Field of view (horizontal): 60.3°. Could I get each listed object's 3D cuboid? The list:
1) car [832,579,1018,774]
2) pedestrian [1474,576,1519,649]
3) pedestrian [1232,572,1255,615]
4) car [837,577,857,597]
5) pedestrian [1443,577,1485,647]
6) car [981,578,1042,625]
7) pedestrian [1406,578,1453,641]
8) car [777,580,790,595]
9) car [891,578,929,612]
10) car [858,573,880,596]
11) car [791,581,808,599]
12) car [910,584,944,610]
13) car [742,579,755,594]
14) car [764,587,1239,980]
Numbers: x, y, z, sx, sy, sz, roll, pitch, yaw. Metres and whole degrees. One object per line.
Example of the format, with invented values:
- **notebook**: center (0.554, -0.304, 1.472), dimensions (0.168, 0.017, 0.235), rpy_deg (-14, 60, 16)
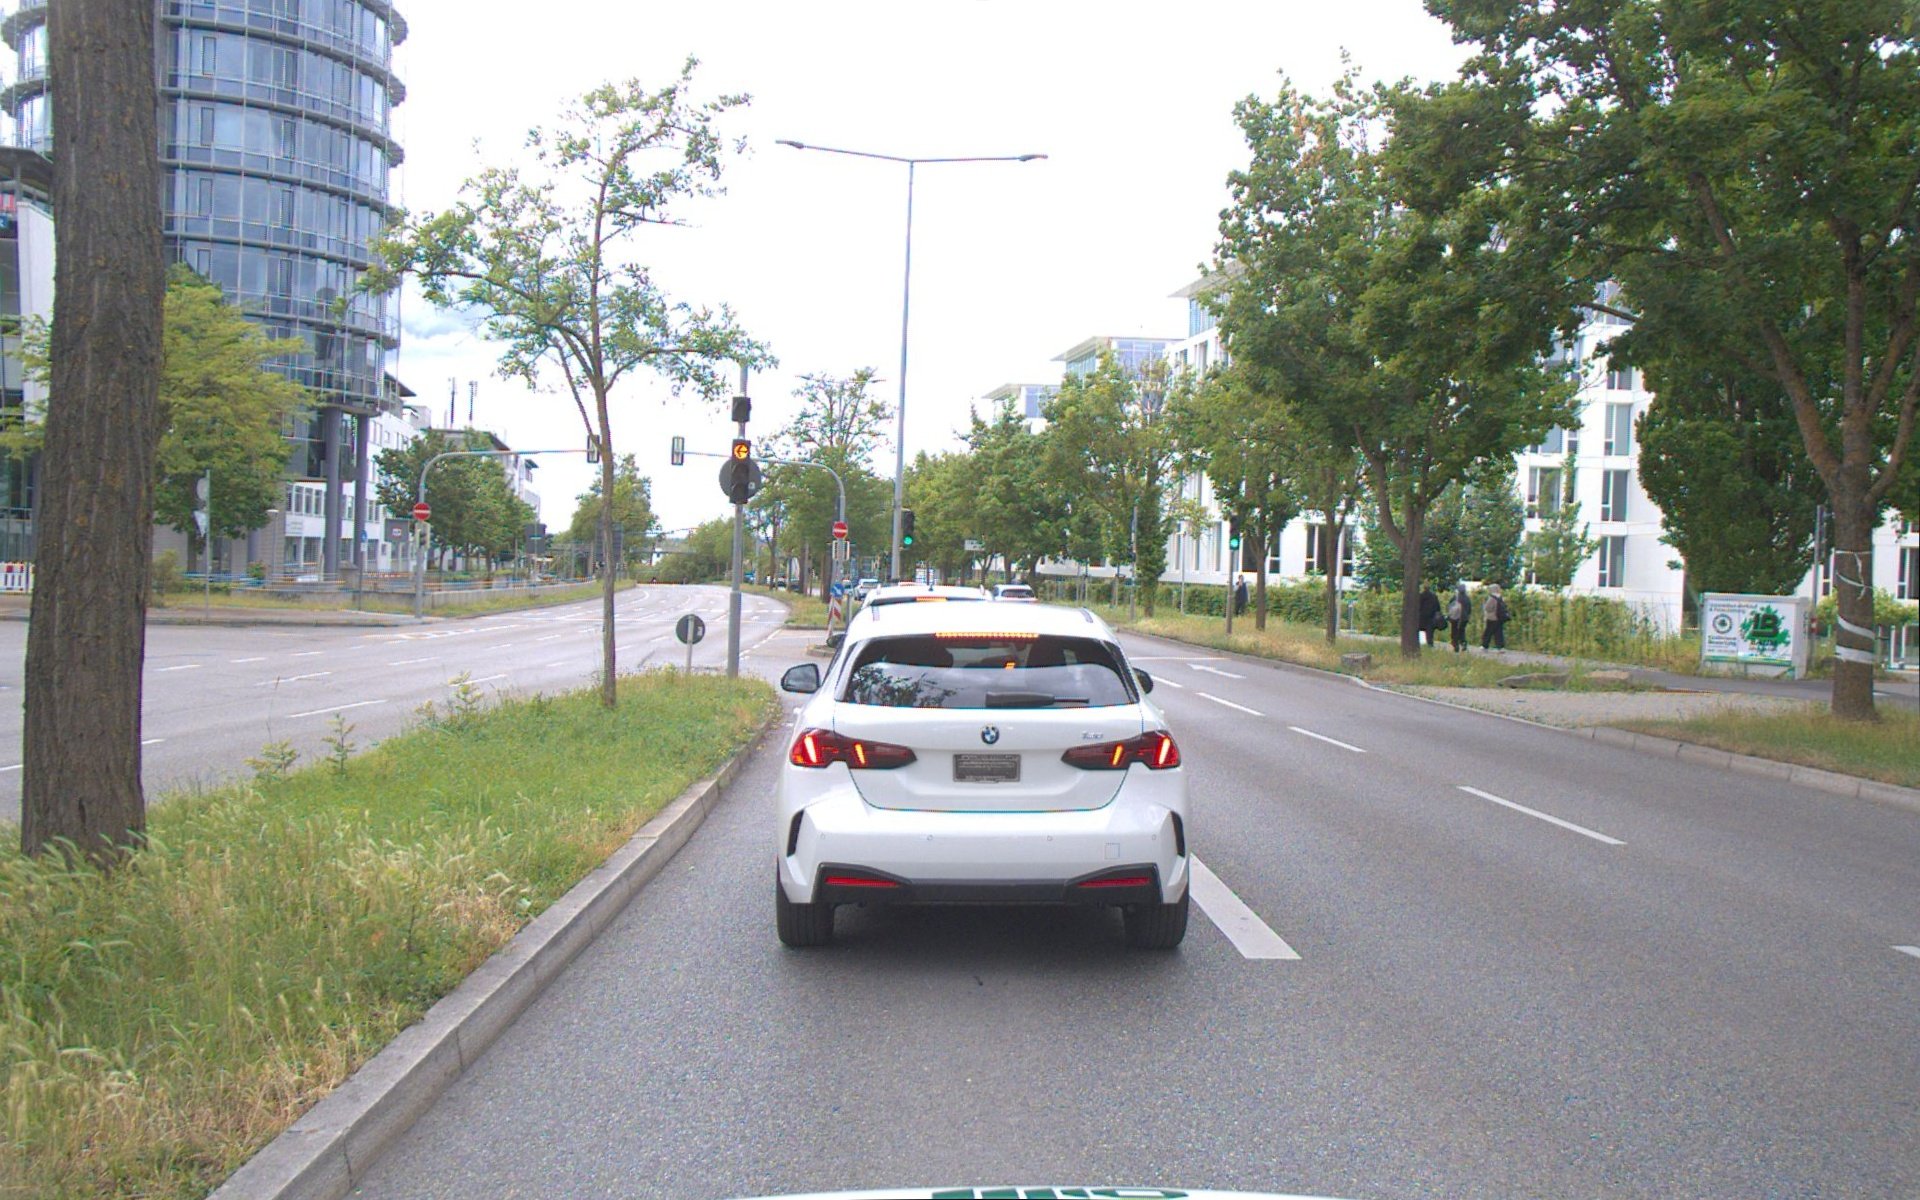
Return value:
- **car**: center (-0.320, 0.629, 15.843), dimensions (1.518, 1.596, 3.999), rpy_deg (1, 0, -1)
- **pedestrian**: center (12.730, 0.299, 39.286), dimensions (0.751, 1.715, 0.883), rpy_deg (1, -1, -2)
- **pedestrian**: center (10.611, -0.249, 61.878), dimensions (0.726, 1.601, 0.674), rpy_deg (1, -1, -2)
- **car**: center (-10.065, -1.143, 146.927), dimensions (1.705, 1.695, 3.997), rpy_deg (1, 0, -4)
- **pedestrian**: center (11.904, 0.284, 39.100), dimensions (0.685, 1.623, 0.883), rpy_deg (1, 0, -2)
- **car**: center (1.897, 0.036, 62.088), dimensions (1.954, 1.699, 3.998), rpy_deg (0, 0, -3)
- **pedestrian**: center (11.126, 0.223, 39.213), dimensions (0.773, 1.473, 1.111), rpy_deg (1, 0, -2)
- **car**: center (-25.099, -1.817, 235.171), dimensions (1.803, 2.049, 3.994), rpy_deg (1, 0, -7)
- **car**: center (-2.748, -0.261, 89.685), dimensions (1.663, 1.747, 3.994), rpy_deg (1, 0, -7)
- **car**: center (-6.976, -1.153, 126.531), dimensions (1.570, 1.695, 3.997), rpy_deg (1, 0, -4)
- **car**: center (-15.680, -0.980, 161.523), dimensions (1.570, 1.695, 3.997), rpy_deg (1, 0, -4)
- **car**: center (-2.043, -0.214, 101.034), dimensions (1.660, 1.512, 3.688), rpy_deg (1, 0, -7)
- **car**: center (-30.881, -1.986, 241.492), dimensions (1.803, 2.049, 3.994), rpy_deg (1, 0, -7)
- **car**: center (0.134, 0.696, 8.331), dimensions (1.785, 1.463, 3.999), rpy_deg (1, 0, -1)
